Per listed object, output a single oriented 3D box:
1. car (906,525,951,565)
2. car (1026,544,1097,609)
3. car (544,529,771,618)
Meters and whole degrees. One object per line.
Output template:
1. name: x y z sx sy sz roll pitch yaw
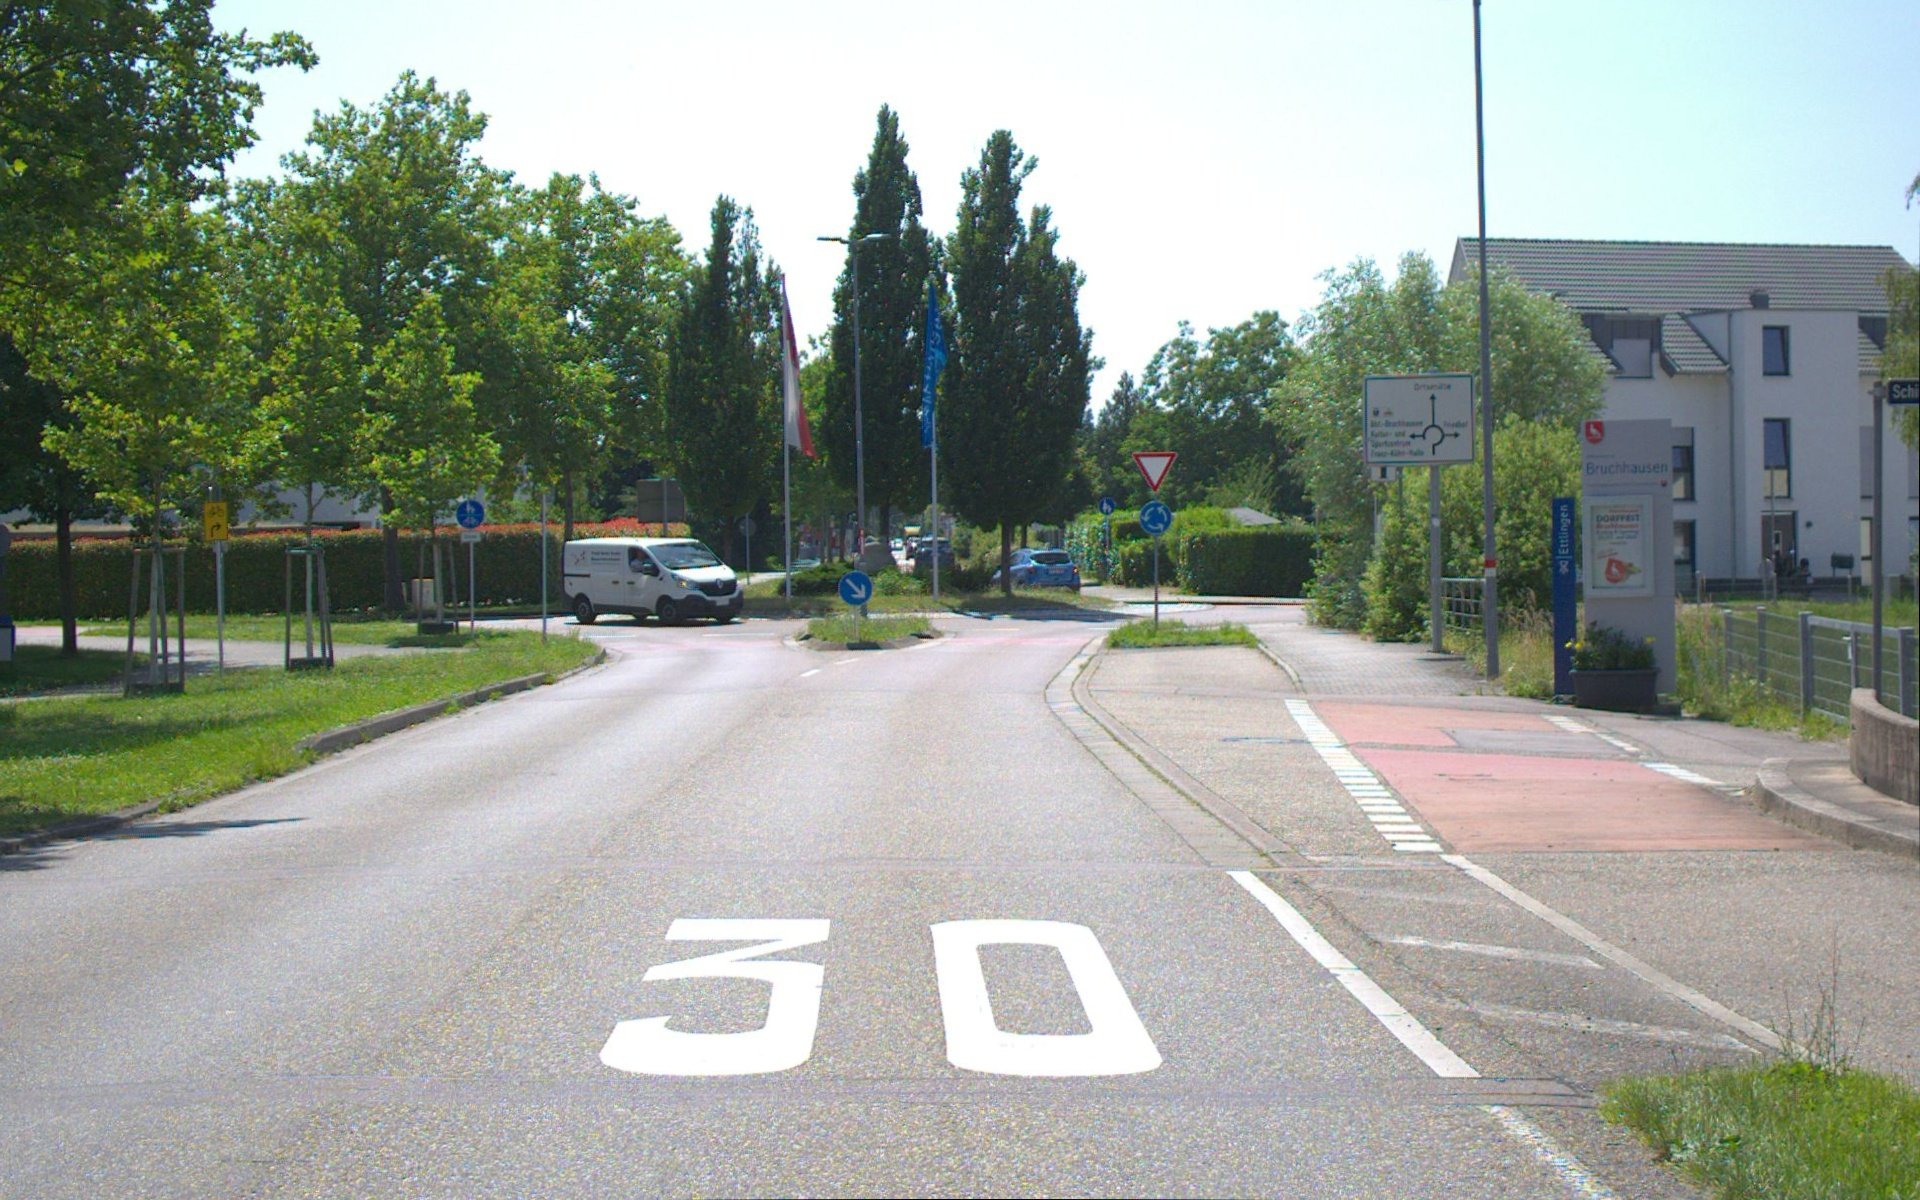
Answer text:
1. car: -1.462 -2.490 157.194 1.993 1.764 4.000 1 0 -1
2. car: 2.997 -0.703 102.357 1.923 1.879 4.000 1 0 -1
3. car: -7.043 -0.627 79.780 5.143 2.007 2.130 1 1 37
